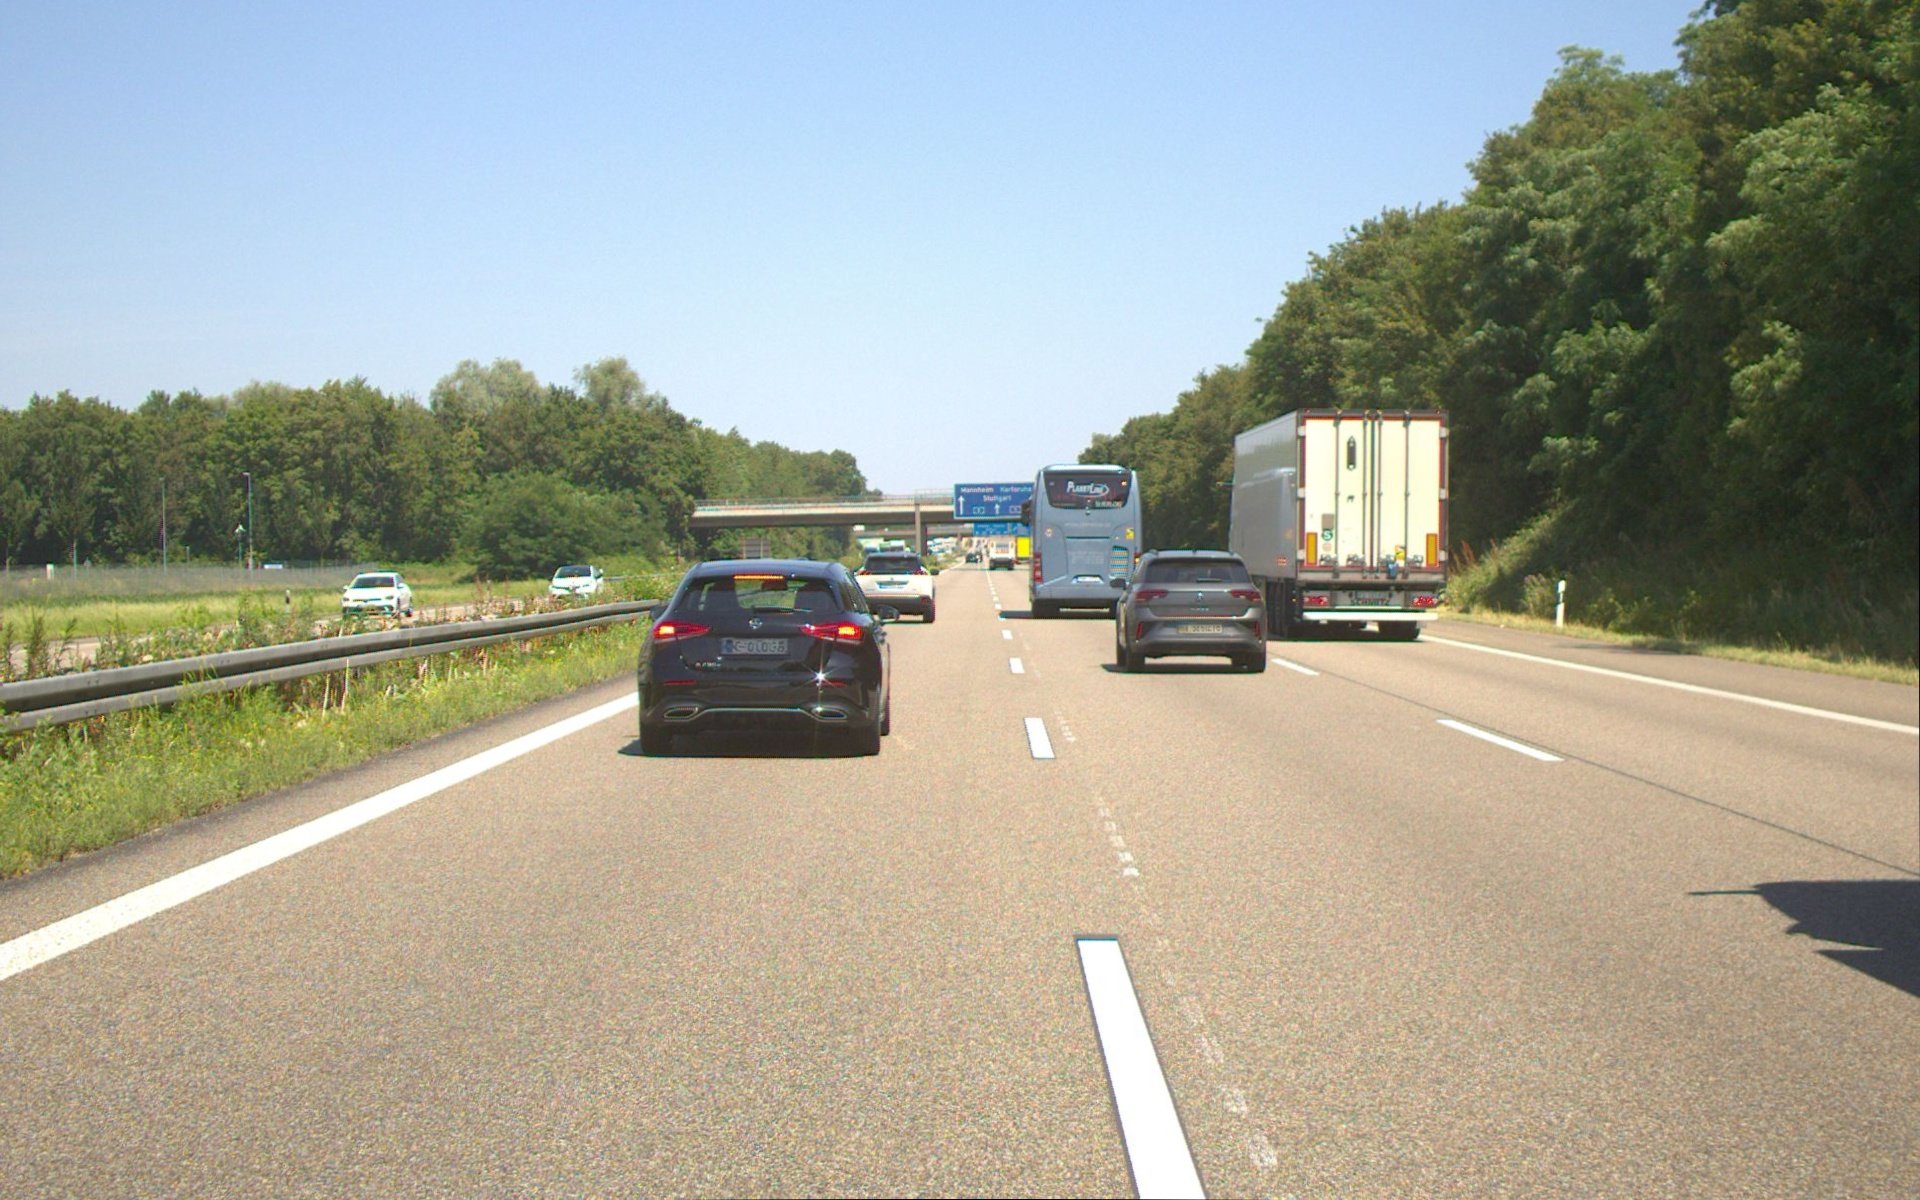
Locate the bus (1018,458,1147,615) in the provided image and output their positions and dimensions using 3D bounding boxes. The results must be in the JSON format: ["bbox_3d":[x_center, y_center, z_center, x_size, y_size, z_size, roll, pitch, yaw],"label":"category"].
[{"bbox_3d":[2.916,-1.533,85.217,2.802,3.584,12.474,0,1,0],"label":"bus"}]

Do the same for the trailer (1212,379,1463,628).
[{"bbox_3d":[6.922,-1.748,65.386,3.039,4.210,13.836,1,1,-1],"label":"trailer"}]

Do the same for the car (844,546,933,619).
[{"bbox_3d":[-1.549,-0.408,75.432,1.899,1.527,4.242,0,1,-1],"label":"car"}]

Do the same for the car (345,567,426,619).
[{"bbox_3d":[-17.986,-0.238,107.785,1.799,1.527,4.632,-1,1,-1],"label":"car"}]

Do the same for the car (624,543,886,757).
[{"bbox_3d":[-1.492,0.320,26.408,1.799,1.497,4.242,0,1,-1],"label":"car"}]

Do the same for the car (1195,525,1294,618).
[{"bbox_3d":[6.680,-0.687,81.017,1.899,2.113,4.242,0,1,-1],"label":"car"}]

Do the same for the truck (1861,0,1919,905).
[{"bbox_3d":[5.362,-0.716,12.090,2.677,4.056,6.049,1,1,-1],"label":"truck"}]

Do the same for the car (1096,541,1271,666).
[{"bbox_3d":[2.853,0.005,44.865,1.899,1.527,4.760,0,1,-1],"label":"car"}]

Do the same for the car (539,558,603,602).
[{"bbox_3d":[-14.205,-0.735,125.791,1.799,1.527,4.483,-1,1,0],"label":"car"}]

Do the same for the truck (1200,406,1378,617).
[{"bbox_3d":[6.823,-1.831,72.109,3.047,4.200,6.049,1,1,-1],"label":"truck"}]
